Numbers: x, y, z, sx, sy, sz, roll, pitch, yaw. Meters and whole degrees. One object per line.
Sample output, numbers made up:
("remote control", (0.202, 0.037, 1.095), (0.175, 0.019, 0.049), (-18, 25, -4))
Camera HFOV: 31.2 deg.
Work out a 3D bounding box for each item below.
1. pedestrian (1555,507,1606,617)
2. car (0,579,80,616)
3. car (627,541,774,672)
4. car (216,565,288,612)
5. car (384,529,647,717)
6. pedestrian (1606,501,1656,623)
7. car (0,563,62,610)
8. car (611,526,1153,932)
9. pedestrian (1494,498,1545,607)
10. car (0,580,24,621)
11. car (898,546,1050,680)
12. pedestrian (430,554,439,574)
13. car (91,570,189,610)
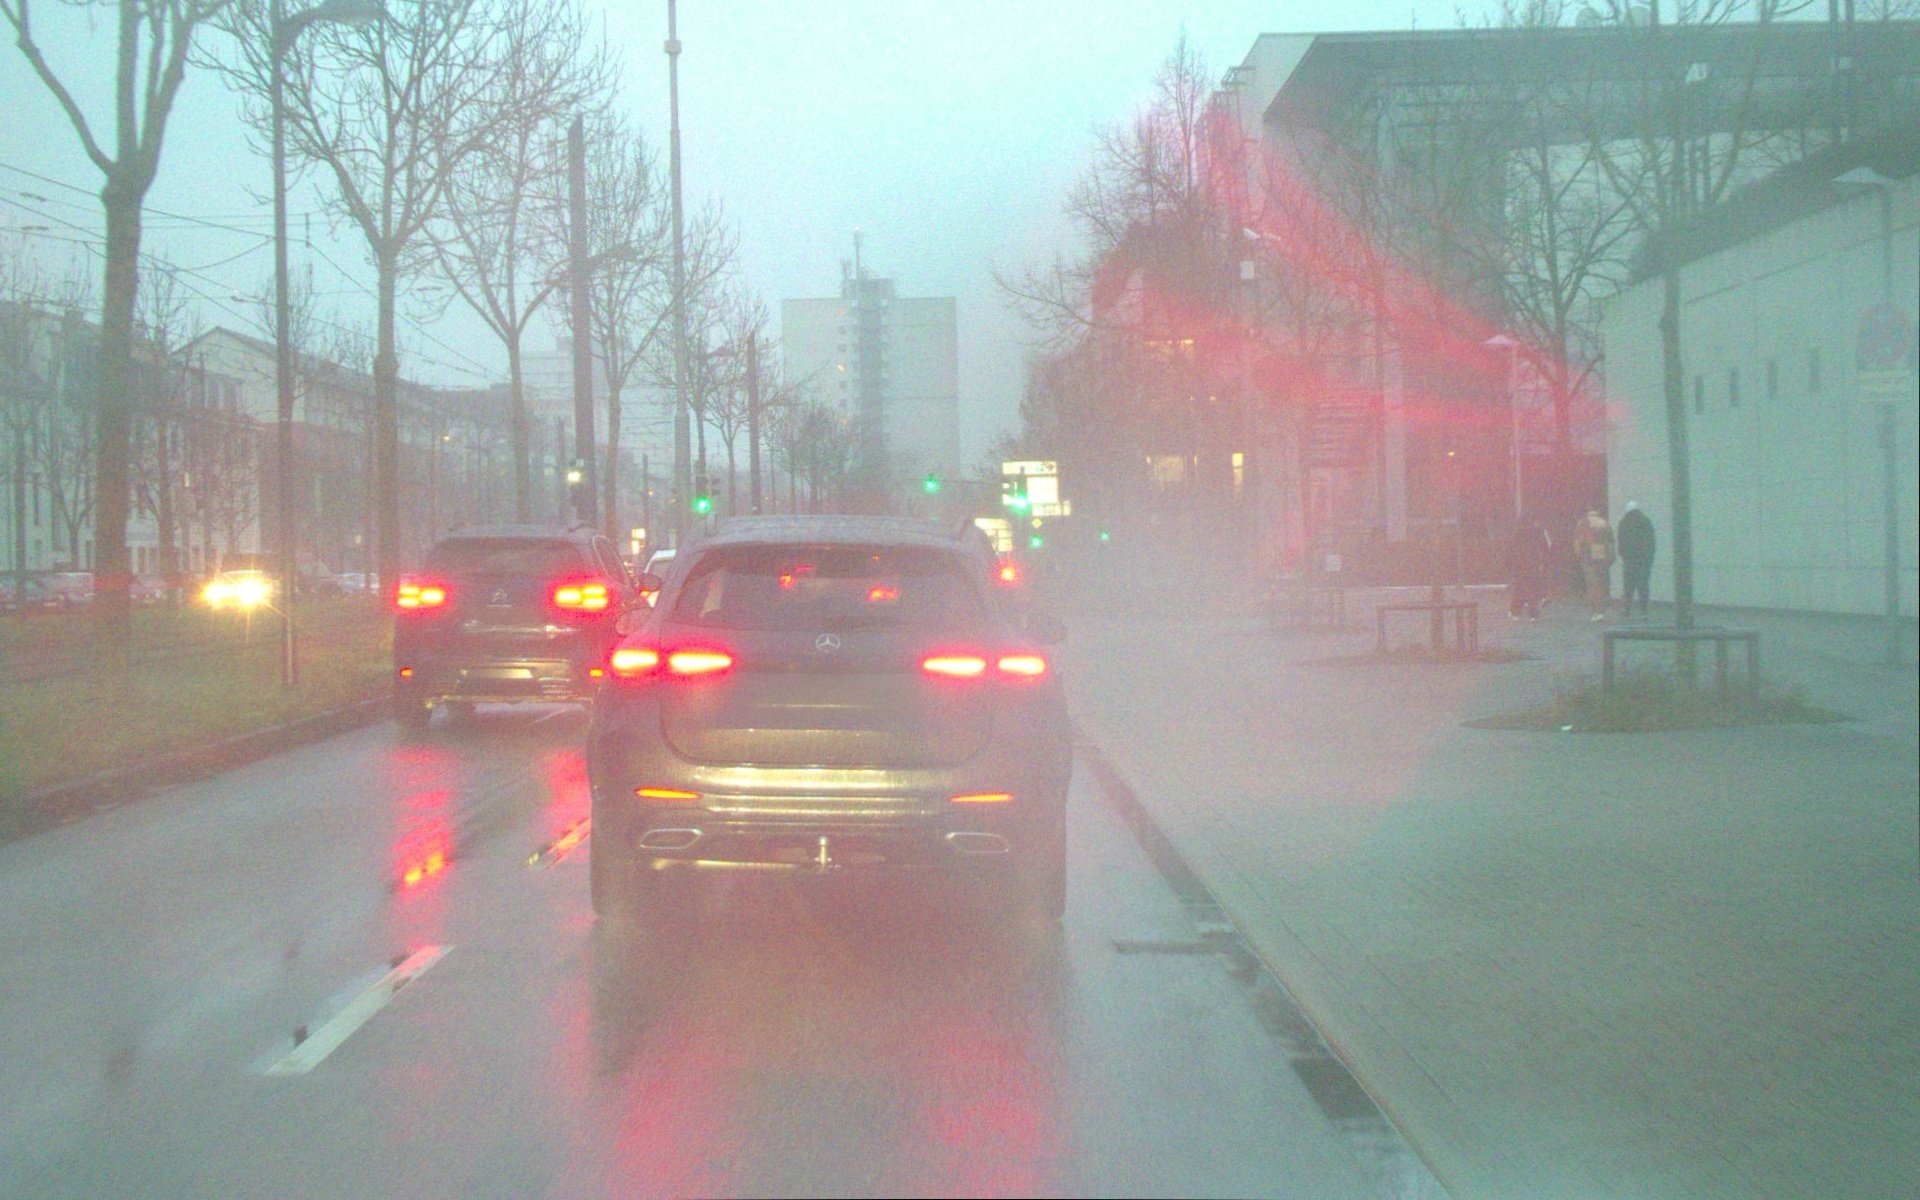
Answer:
("pedestrian", (9.158, -0.567, 50.737), (0.673, 1.606, 0.614), (1, 0, 14))
("car", (-28.631, -0.086, 106.402), (2.389, 1.045, 1.434), (2, 2, 32))
("car", (-3.378, 0.066, 45.191), (1.689, 1.630, 3.474), (1, 1, -1))
("car", (-23.215, -0.394, 112.779), (1.545, 1.499, 3.783), (1, 1, 0))
("car", (-3.641, 0.159, 28.773), (1.817, 1.445, 4.000), (1, 1, -2))
("pedestrian", (9.876, -0.555, 50.578), (0.673, 1.772, 0.614), (1, 0, 13))
("car", (-28.109, -0.422, 100.328), (3.575, 1.304, 1.683), (2, 1, 32))
("car", (-0.311, 0.470, 14.612), (1.993, 1.478, 3.700), (1, 0, -1))
("pedestrian", (8.447, -0.718, 51.912), (0.673, 1.619, 0.614), (1, 0, 15))
("car", (-28.521, -0.015, 97.662), (3.567, 1.137, 1.734), (2, 1, 32))
("car", (0.152, 0.138, 44.197), (1.854, 1.630, 3.474), (1, 1, -1))
("pedestrian", (-31.548, -2.163, 206.505), (0.345, 1.180, 0.434), (0, 0, -41))
("car", (-28.543, -0.342, 119.663), (2.932, 1.331, 1.734), (2, 1, 32))
